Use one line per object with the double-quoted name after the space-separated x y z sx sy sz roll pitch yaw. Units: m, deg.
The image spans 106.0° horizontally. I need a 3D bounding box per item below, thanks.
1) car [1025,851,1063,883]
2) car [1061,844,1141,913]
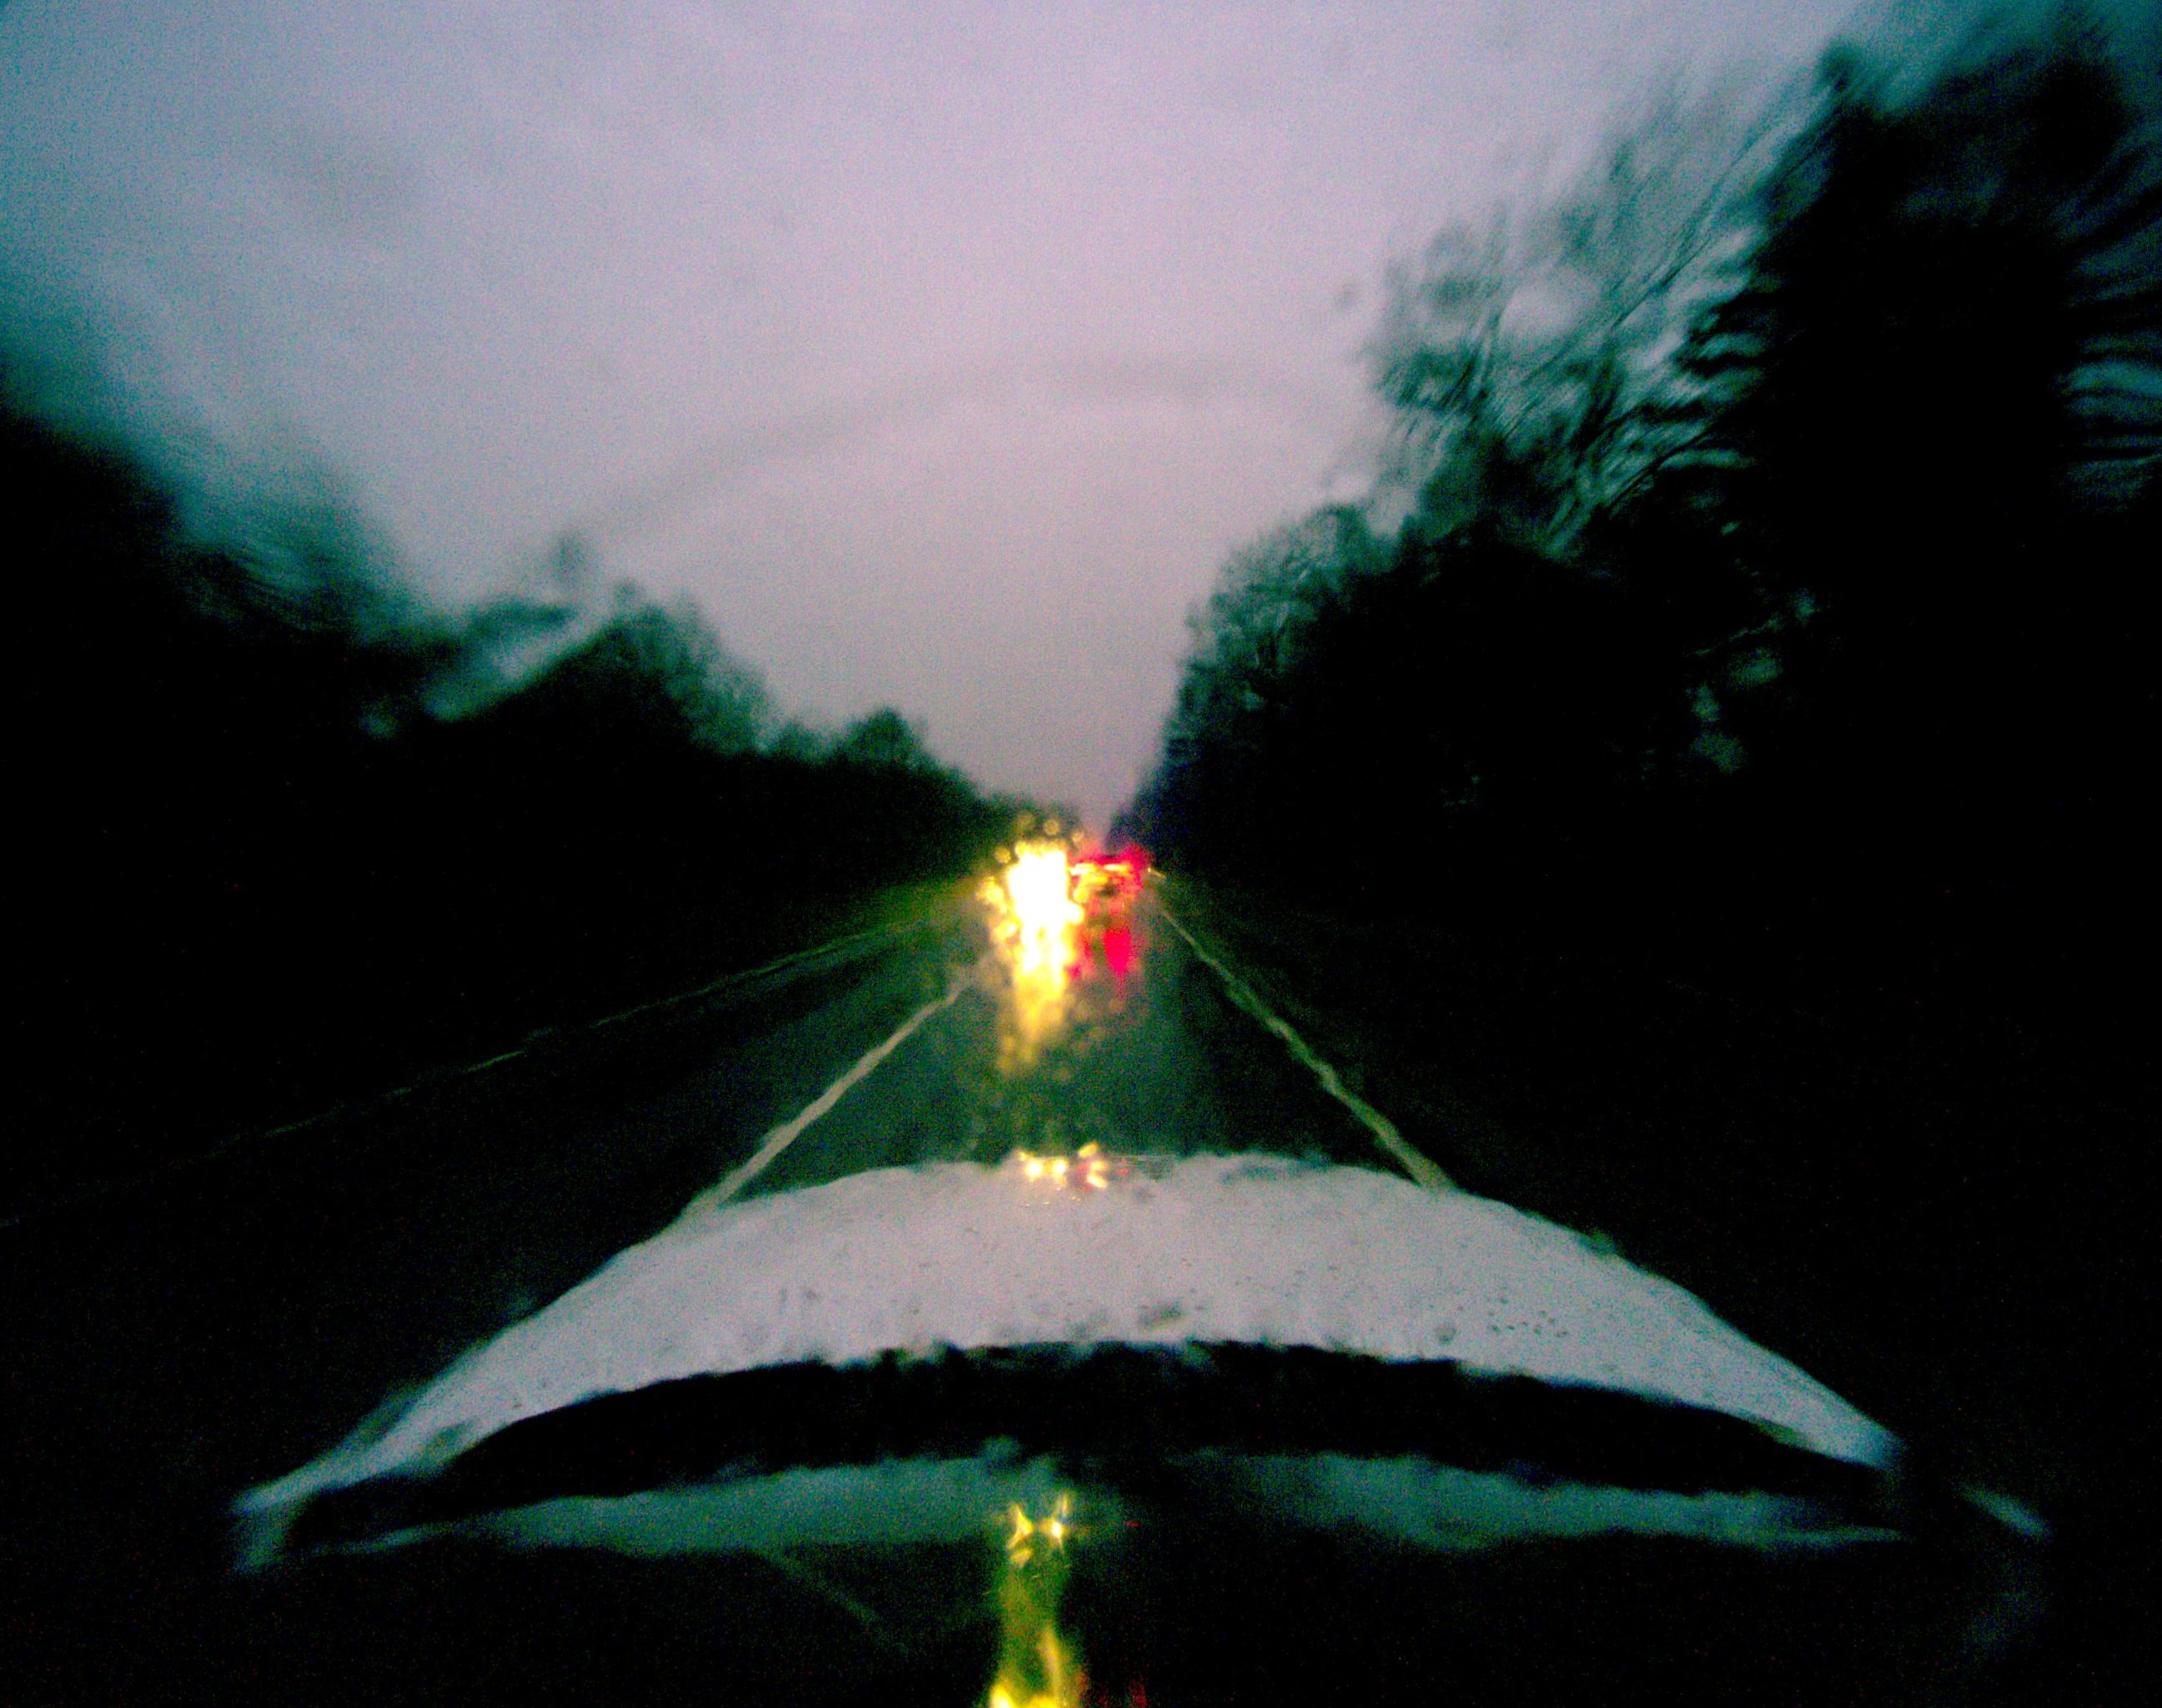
-1.944 0.675 43.515 1.688 1.560 4.131 0 1 2 "car"
0.594 0.677 24.494 2.190 1.877 4.828 0 0 1 "car"
